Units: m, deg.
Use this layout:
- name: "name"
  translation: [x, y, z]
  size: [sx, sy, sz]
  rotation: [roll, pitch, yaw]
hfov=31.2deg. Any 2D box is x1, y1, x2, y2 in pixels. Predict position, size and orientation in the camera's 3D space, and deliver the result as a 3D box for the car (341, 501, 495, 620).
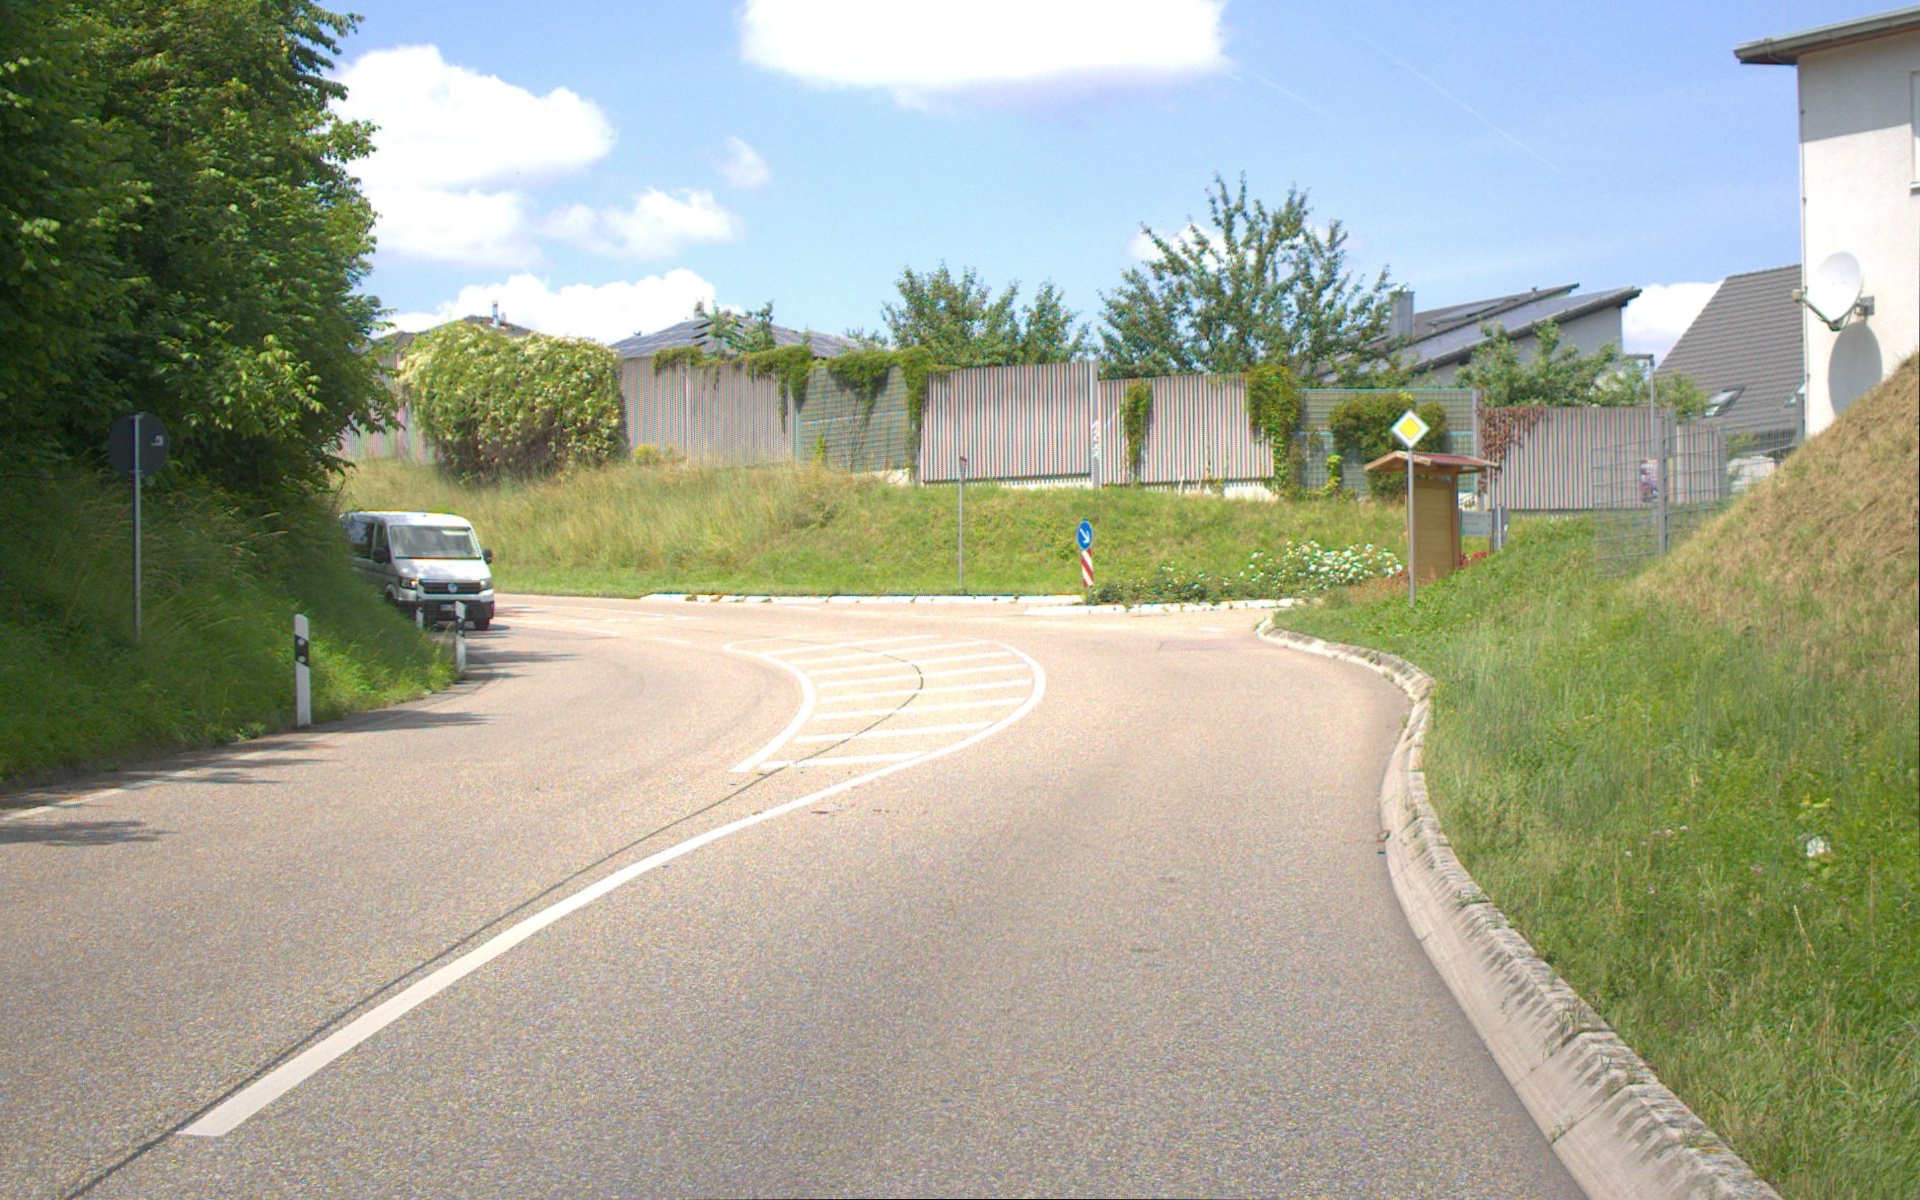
- name: "car"
  translation: [-11.033, -0.774, 69.608]
  size: [2.085, 2.282, 5.948]
  rotation: [-1, 0, -18]
